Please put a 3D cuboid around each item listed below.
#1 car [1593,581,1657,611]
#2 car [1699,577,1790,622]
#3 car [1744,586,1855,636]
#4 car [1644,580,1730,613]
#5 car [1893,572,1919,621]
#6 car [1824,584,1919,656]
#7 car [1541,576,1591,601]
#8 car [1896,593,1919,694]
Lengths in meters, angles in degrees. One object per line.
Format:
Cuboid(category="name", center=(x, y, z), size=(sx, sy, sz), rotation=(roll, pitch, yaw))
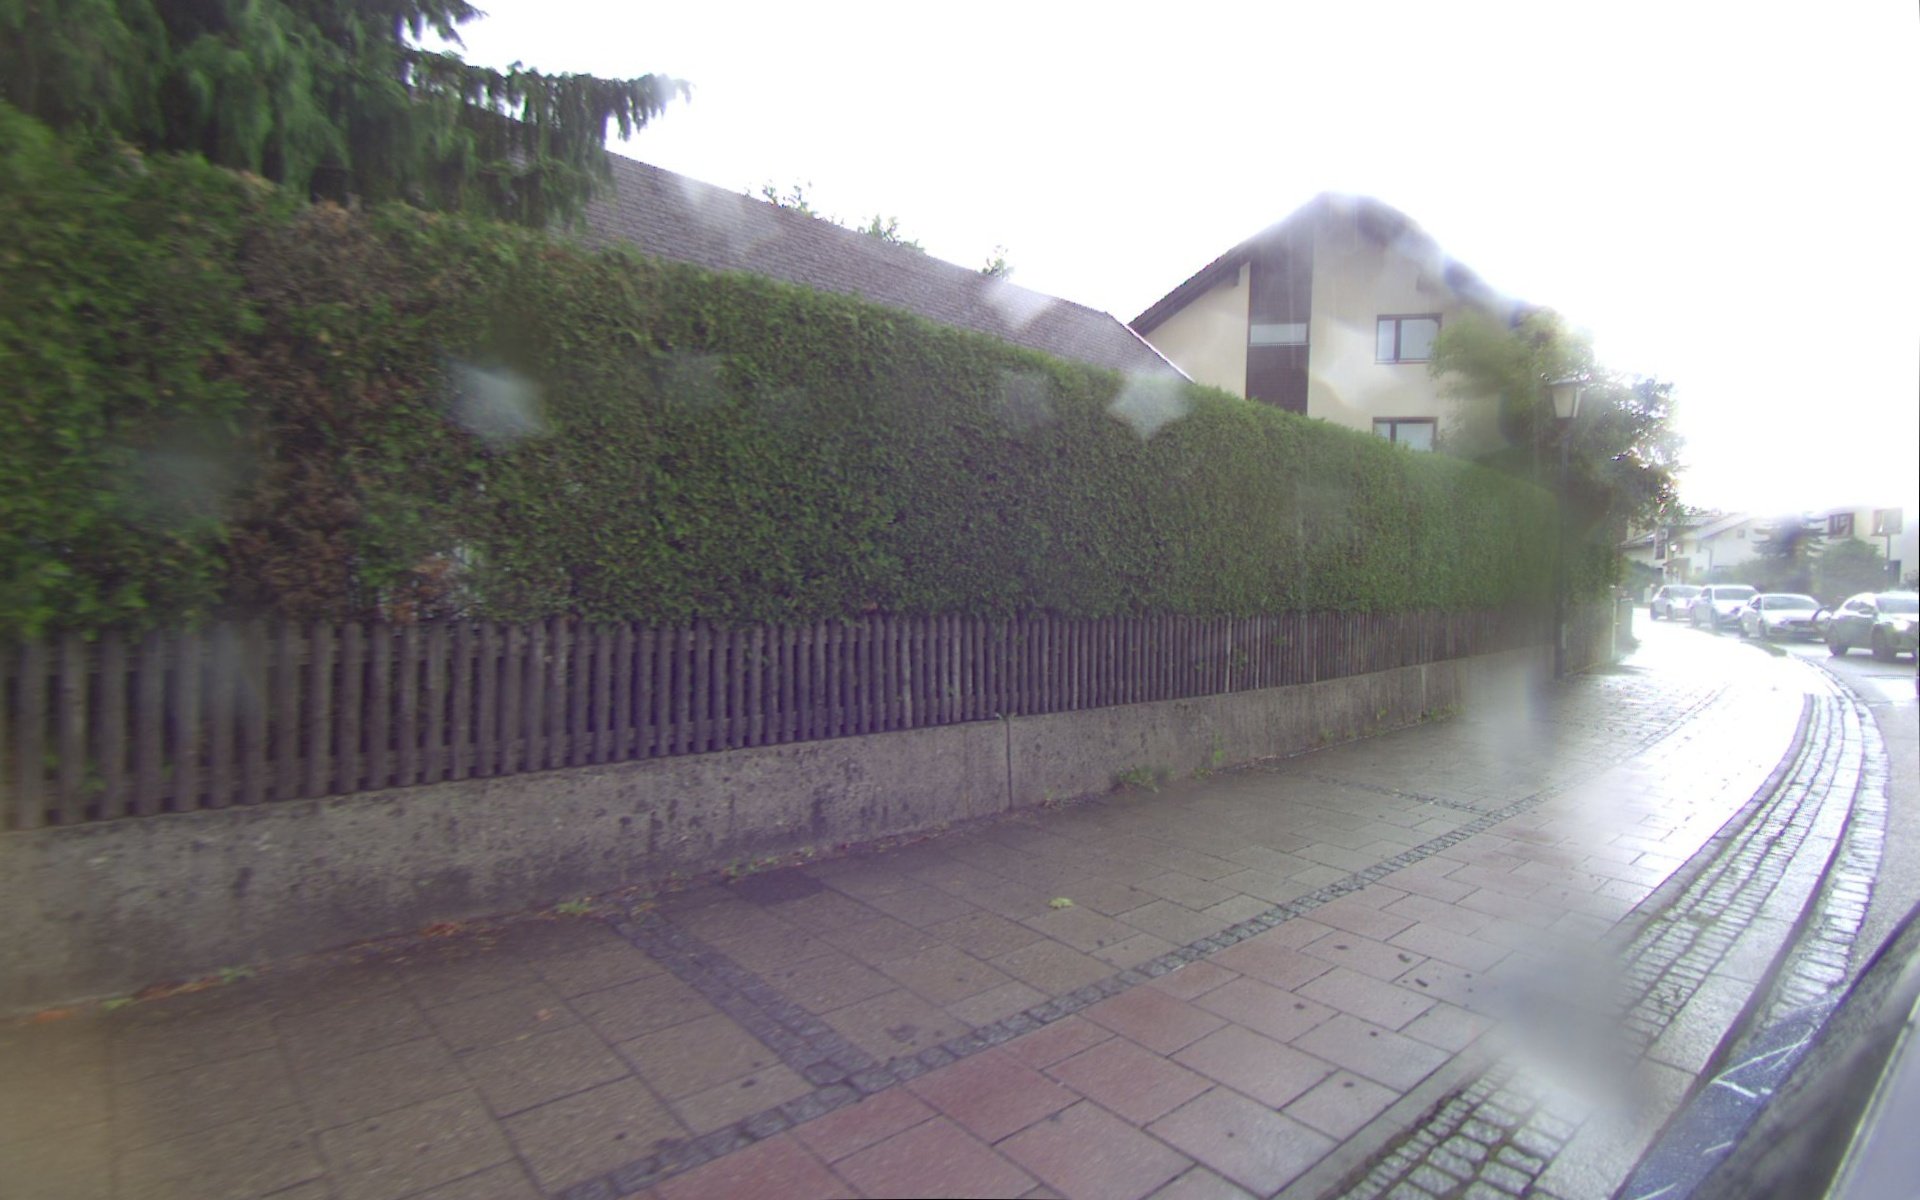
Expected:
Cuboid(category="car", center=(36.485, -0.233, 55.652), size=(1.770, 1.568, 4.258), rotation=(0, 1, 17))
Cuboid(category="car", center=(29.023, -0.066, 37.572), size=(1.777, 1.568, 4.244), rotation=(0, 1, 26))
Cuboid(category="car", center=(25.786, 0.278, 31.243), size=(1.778, 1.412, 4.239), rotation=(0, 1, 28))
Cuboid(category="car", center=(32.270, -0.178, 45.054), size=(1.770, 1.390, 4.258), rotation=(0, 1, 17))
Cuboid(category="car", center=(34.265, -0.097, 34.848), size=(1.770, 1.683, 4.411), rotation=(0, 3, 24))
Cuboid(category="car", center=(21.790, 0.388, 23.505), size=(1.781, 1.497, 5.326), rotation=(0, 1, 31))
Cuboid(category="car", center=(39.733, -0.779, 66.423), size=(1.770, 1.568, 4.259), rotation=(0, 1, 16))
Cuboid(category="car", center=(14.155, 0.634, 13.549), size=(1.783, 1.412, 4.228), rotation=(0, 1, 35))
